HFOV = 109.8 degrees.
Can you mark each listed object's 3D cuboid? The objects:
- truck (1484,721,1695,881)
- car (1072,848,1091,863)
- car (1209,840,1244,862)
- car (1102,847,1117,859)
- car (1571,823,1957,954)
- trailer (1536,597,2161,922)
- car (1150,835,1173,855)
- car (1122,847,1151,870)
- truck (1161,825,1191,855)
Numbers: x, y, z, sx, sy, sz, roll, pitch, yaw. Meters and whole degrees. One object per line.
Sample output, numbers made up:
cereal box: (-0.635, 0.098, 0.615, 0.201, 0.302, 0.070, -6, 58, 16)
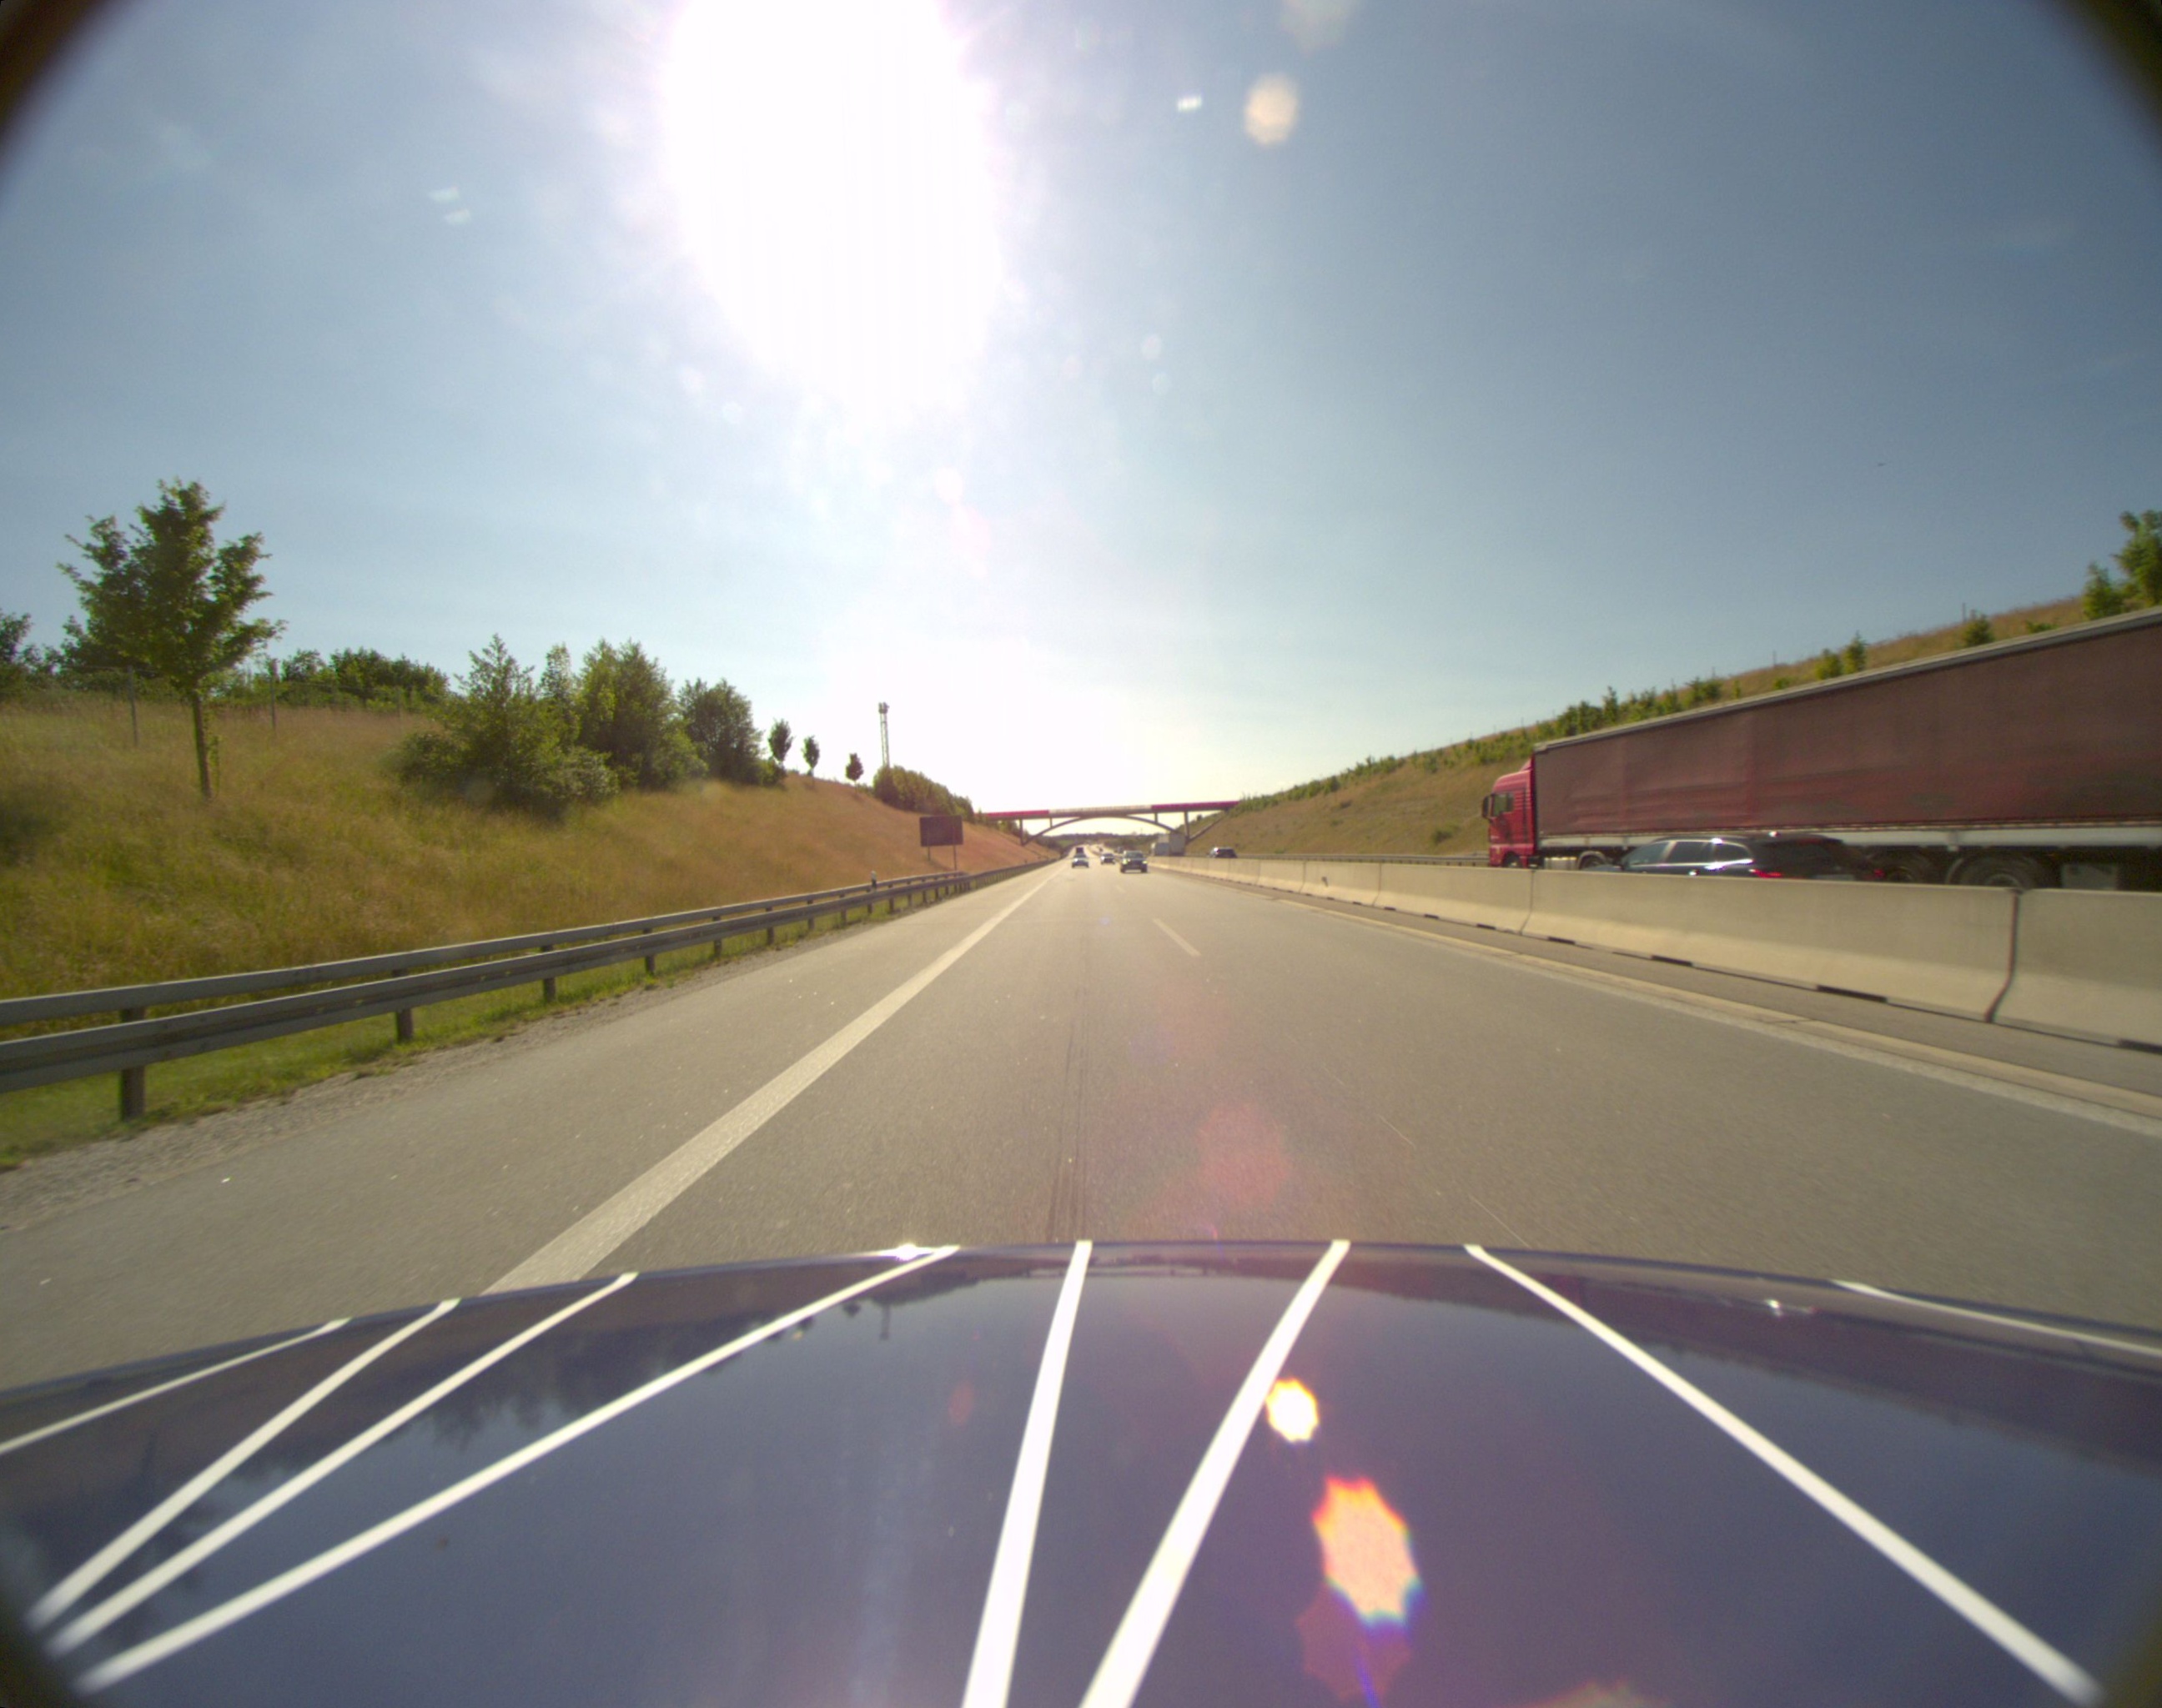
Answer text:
truck: (14.037, -1.362, 21.456, 2.644, 3.900, 4.893, -2, 1, 0)
car: (0.129, 0.126, 83.122, 1.909, 1.449, 4.375, -2, 1, 2)
car: (10.654, -0.233, 55.945, 1.690, 1.496, 4.162, -2, 1, -1)
car: (3.777, -0.147, 99.821, 1.776, 1.560, 4.987, -2, 1, 1)
car: (10.072, 0.411, 11.857, 1.801, 1.584, 4.658, -2, 1, 0)
trailer: (14.091, -1.229, 14.265, 2.645, 3.853, 13.732, -2, 1, -1)
car: (10.395, -1.133, 97.978, 2.211, 2.441, 5.831, -2, 1, -1)
car: (4.108, 0.303, 56.895, 1.726, 1.578, 5.221, -2, 1, 1)
truck: (14.870, -2.123, 119.957, 3.023, 4.284, 12.733, -2, 1, 1)
